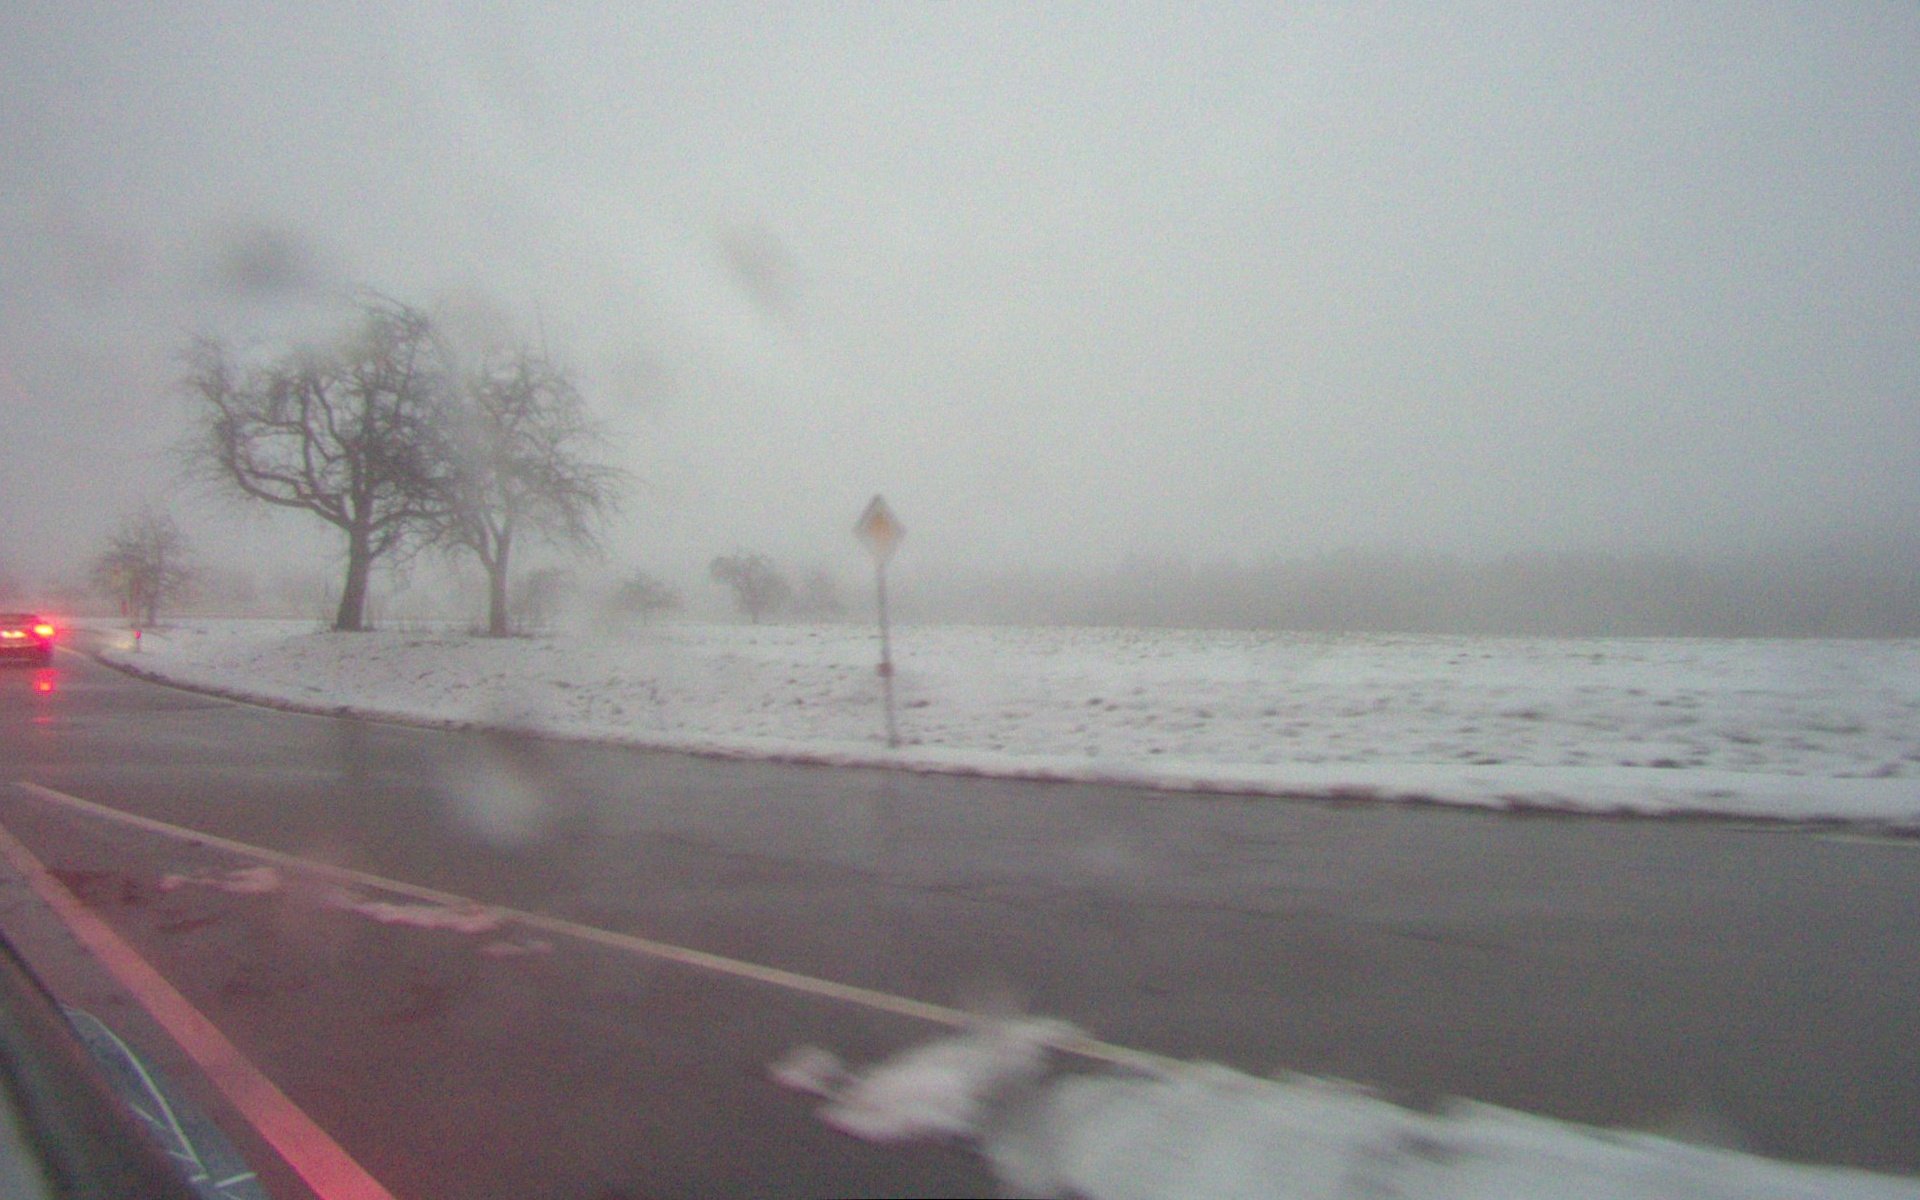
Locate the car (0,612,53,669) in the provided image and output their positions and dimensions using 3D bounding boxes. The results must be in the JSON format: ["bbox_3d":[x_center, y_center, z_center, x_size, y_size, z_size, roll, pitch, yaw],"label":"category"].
[{"bbox_3d":[-26.644,1.123,28.025,4.001,1.498,1.724,-2,-3,40],"label":"car"}]
